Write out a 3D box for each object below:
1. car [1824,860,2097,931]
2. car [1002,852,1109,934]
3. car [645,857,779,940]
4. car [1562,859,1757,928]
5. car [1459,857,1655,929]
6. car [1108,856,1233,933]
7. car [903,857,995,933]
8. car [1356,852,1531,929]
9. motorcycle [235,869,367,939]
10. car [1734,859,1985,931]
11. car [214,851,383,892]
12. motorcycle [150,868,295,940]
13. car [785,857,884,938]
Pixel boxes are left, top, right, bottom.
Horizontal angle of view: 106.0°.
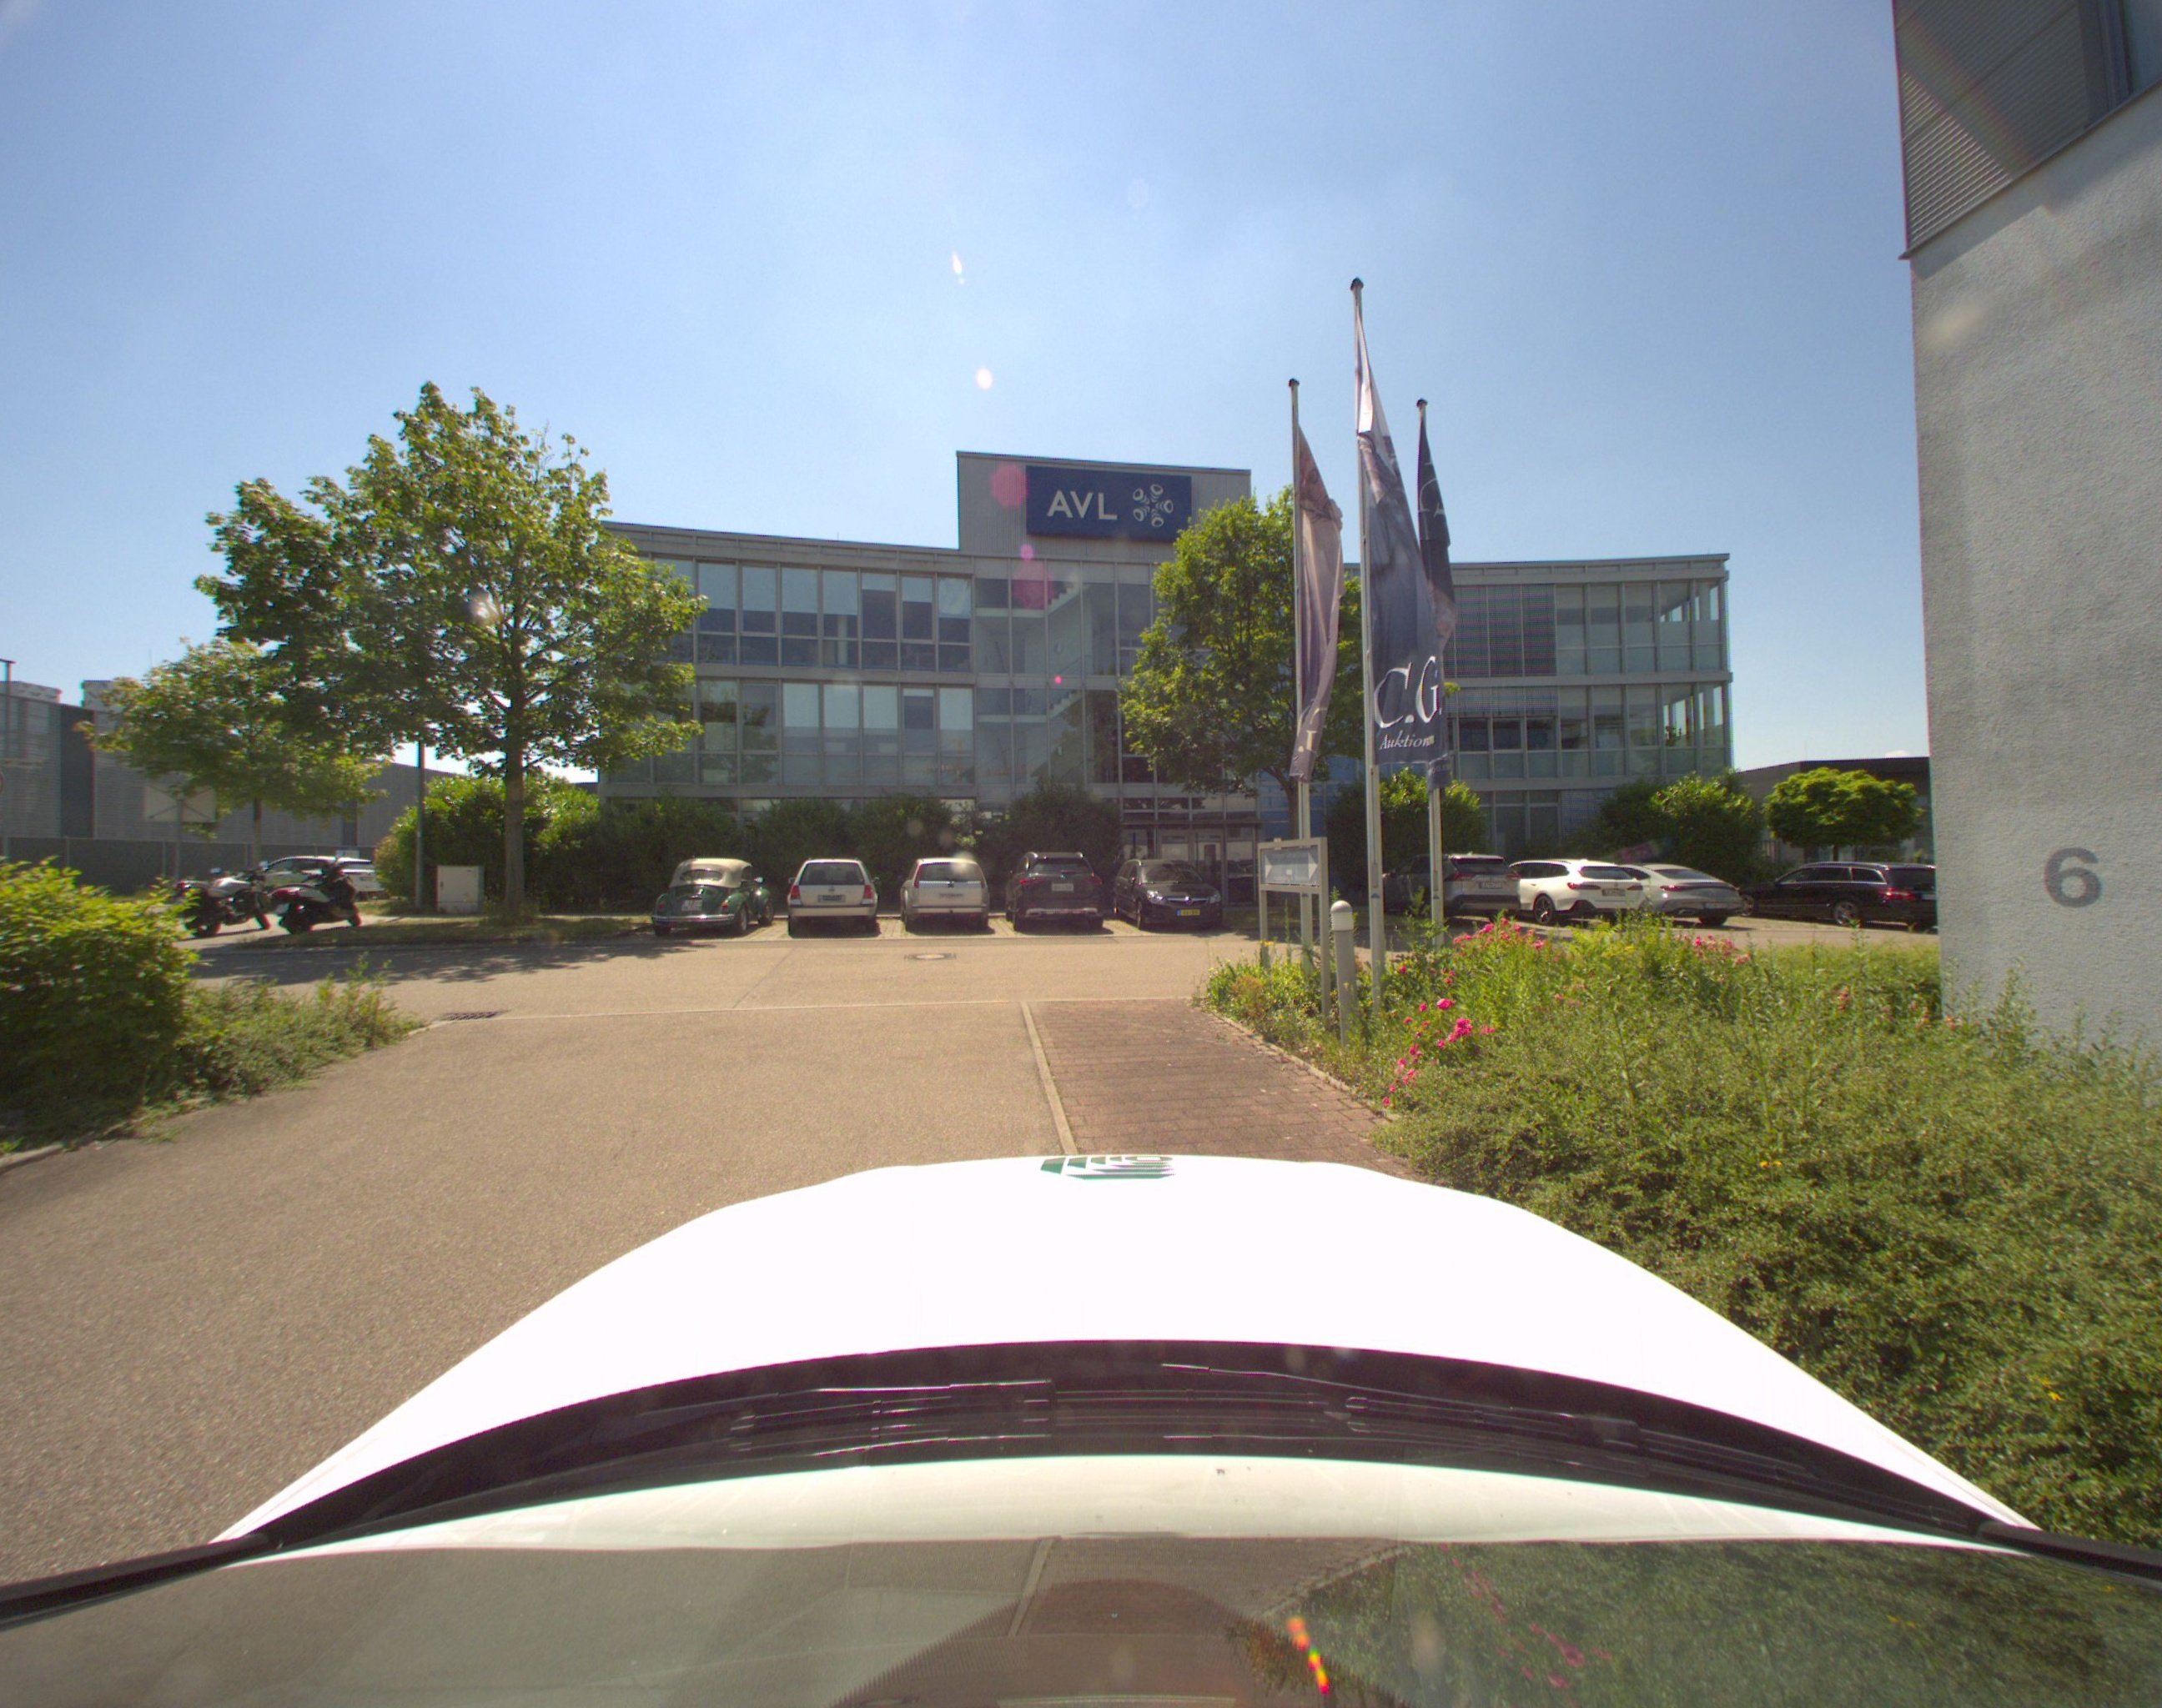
[{"bbox_3d":[20.805,0.893,19.612,1.730,1.447,4.549,1,0,1],"label":"car"},{"bbox_3d":[-0.690,0.766,18.190,1.926,1.610,3.974,0,0,-9],"label":"car"},{"bbox_3d":[-7.295,0.796,16.440,1.541,1.449,3.642,0,0,-9],"label":"car"},{"bbox_3d":[13.827,0.877,19.840,1.730,1.429,4.340,1,0,1],"label":"car"},{"bbox_3d":[11.160,0.843,19.502,1.735,1.492,4.326,1,0,-9],"label":"car"},{"bbox_3d":[1.873,0.814,18.469,1.769,1.482,4.245,-1,0,-9],"label":"car"},{"bbox_3d":[-3.006,0.824,18.006,1.767,1.449,3.637,0,0,-13],"label":"car"},{"bbox_3d":[8.535,0.770,19.650,1.819,1.619,4.326,-1,0,-9],"label":"car"},{"bbox_3d":[-14.078,0.864,14.778,0.713,1.138,1.952,-1,0,-8],"label":"motorcycle"},{"bbox_3d":[18.364,0.887,19.567,1.730,1.447,4.549,1,0,1],"label":"car"},{"bbox_3d":[-29.867,0.627,31.177,4.814,1.491,2.003,0,0,6],"label":"car"},{"bbox_3d":[-15.290,0.857,14.597,0.713,1.138,1.952,-1,0,-8],"label":"motorcycle"},{"bbox_3d":[-5.040,0.818,17.062,1.734,1.449,3.637,0,0,-13],"label":"car"}]
